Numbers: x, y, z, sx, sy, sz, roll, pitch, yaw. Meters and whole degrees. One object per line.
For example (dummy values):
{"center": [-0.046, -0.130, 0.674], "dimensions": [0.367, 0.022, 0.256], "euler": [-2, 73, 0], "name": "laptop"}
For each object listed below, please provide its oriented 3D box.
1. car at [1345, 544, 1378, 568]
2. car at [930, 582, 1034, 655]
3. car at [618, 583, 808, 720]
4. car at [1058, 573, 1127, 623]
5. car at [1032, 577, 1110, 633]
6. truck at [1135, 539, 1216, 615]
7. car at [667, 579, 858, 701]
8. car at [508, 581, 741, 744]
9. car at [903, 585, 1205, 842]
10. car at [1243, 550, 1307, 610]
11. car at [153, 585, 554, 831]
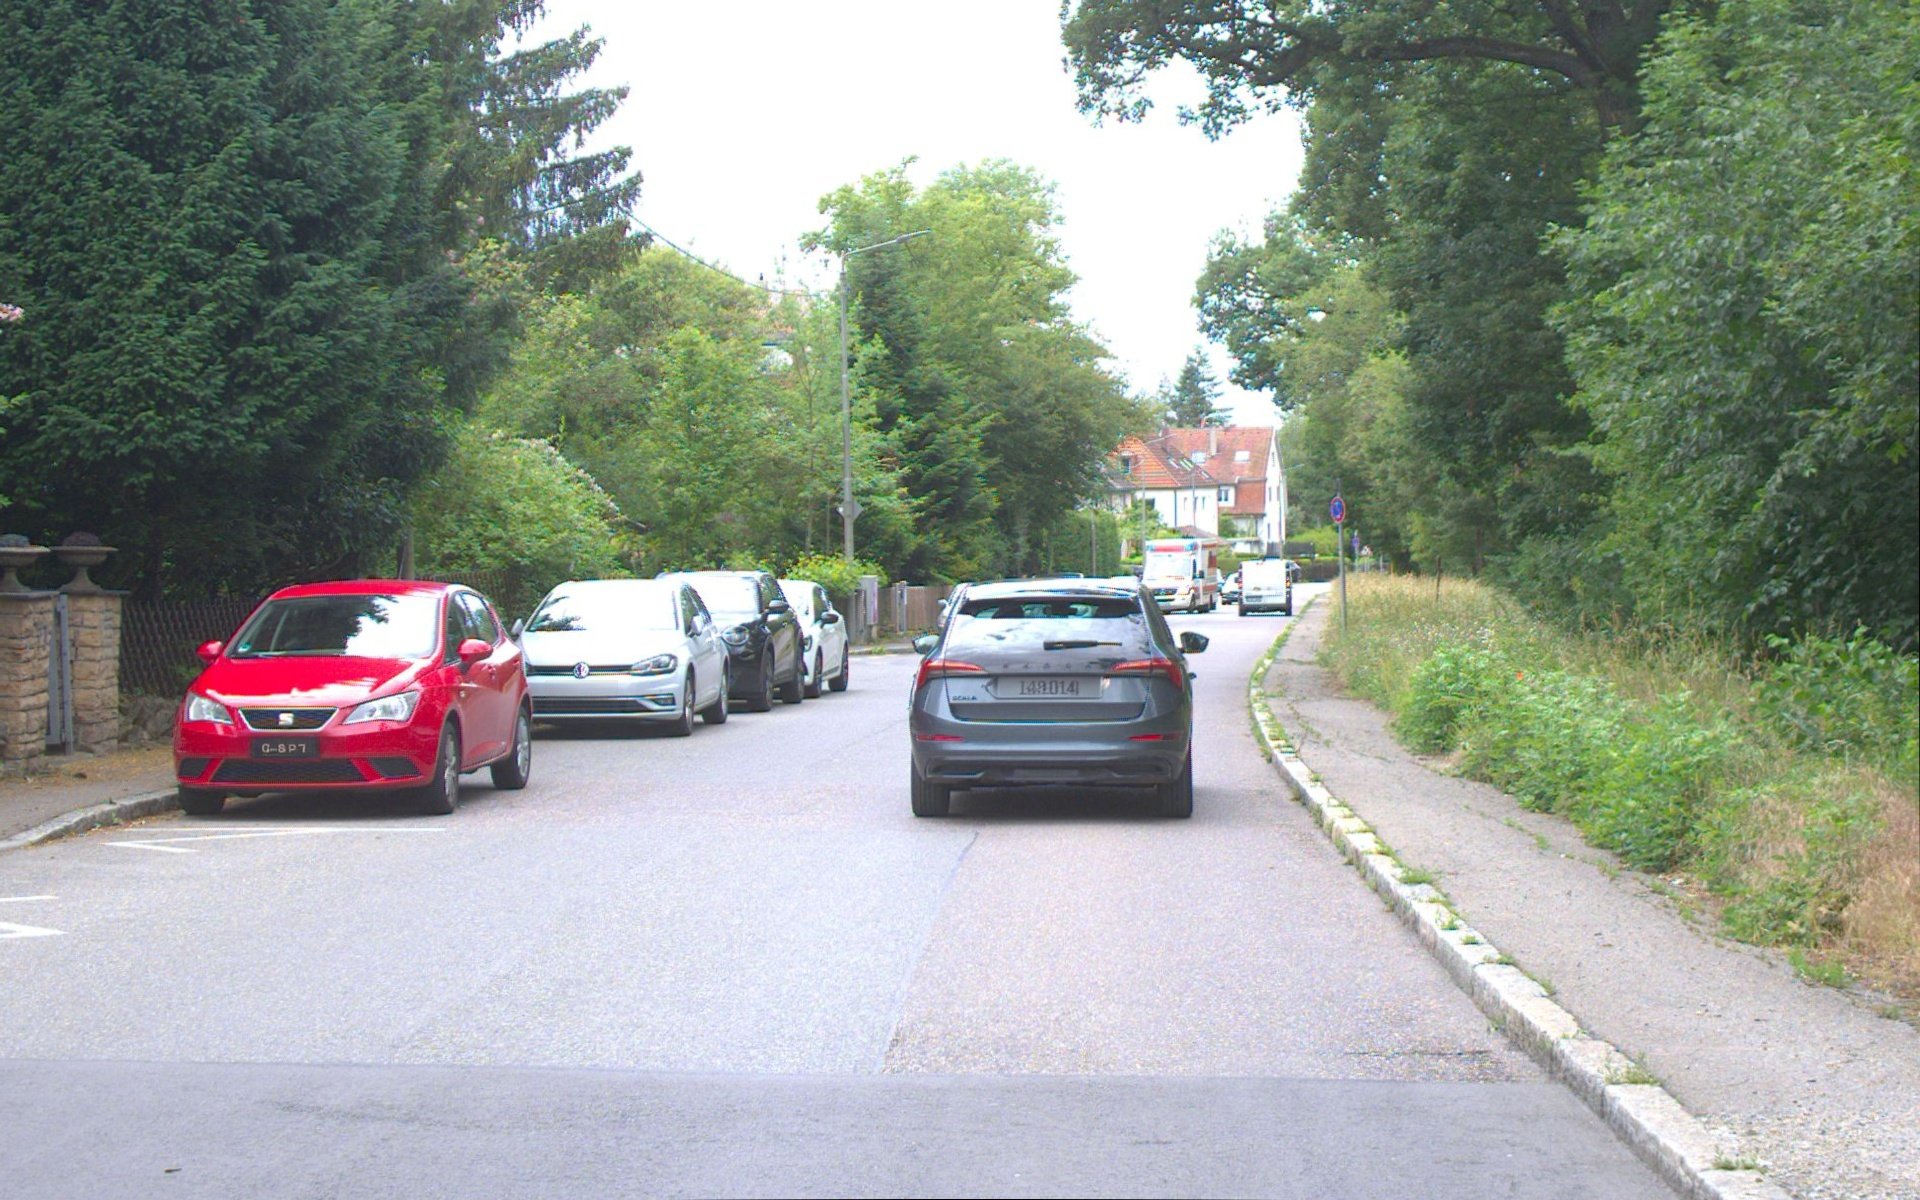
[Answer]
{"center": [24.657, -2.718, 211.216], "dimensions": [1.735, 1.442, 4.000], "euler": [1, 1, 4], "name": "car"}
{"center": [0.488, 0.357, 70.456], "dimensions": [1.749, 1.400, 3.999], "euler": [1, 1, 6], "name": "car"}
{"center": [-2.693, 0.533, 38.216], "dimensions": [1.749, 1.400, 4.000], "euler": [1, 1, 1], "name": "car"}
{"center": [3.876, -0.078, 100.361], "dimensions": [1.749, 1.400, 3.999], "euler": [1, 1, 6], "name": "car"}
{"center": [2.912, 0.116, 89.870], "dimensions": [1.749, 1.400, 3.999], "euler": [1, 1, 6], "name": "car"}
{"center": [8.367, -0.940, 132.760], "dimensions": [2.764, 2.784, 9.266], "euler": [0, 1, 6], "name": "truck"}
{"center": [-2.402, 0.464, 42.800], "dimensions": [1.749, 1.400, 3.999], "euler": [1, 1, 6], "name": "car"}
{"center": [-3.113, 0.548, 32.574], "dimensions": [1.749, 1.400, 4.000], "euler": [1, 1, 1], "name": "car"}
{"center": [0.573, 0.652, 22.086], "dimensions": [1.734, 1.442, 4.180], "euler": [1, 1, 1], "name": "car"}
{"center": [11.259, -0.735, 123.126], "dimensions": [2.206, 2.056, 6.134], "euler": [0, 1, 5], "name": "car"}
{"center": [-3.813, 0.623, 22.260], "dimensions": [1.635, 1.400, 4.000], "euler": [1, 1, 4], "name": "car"}
